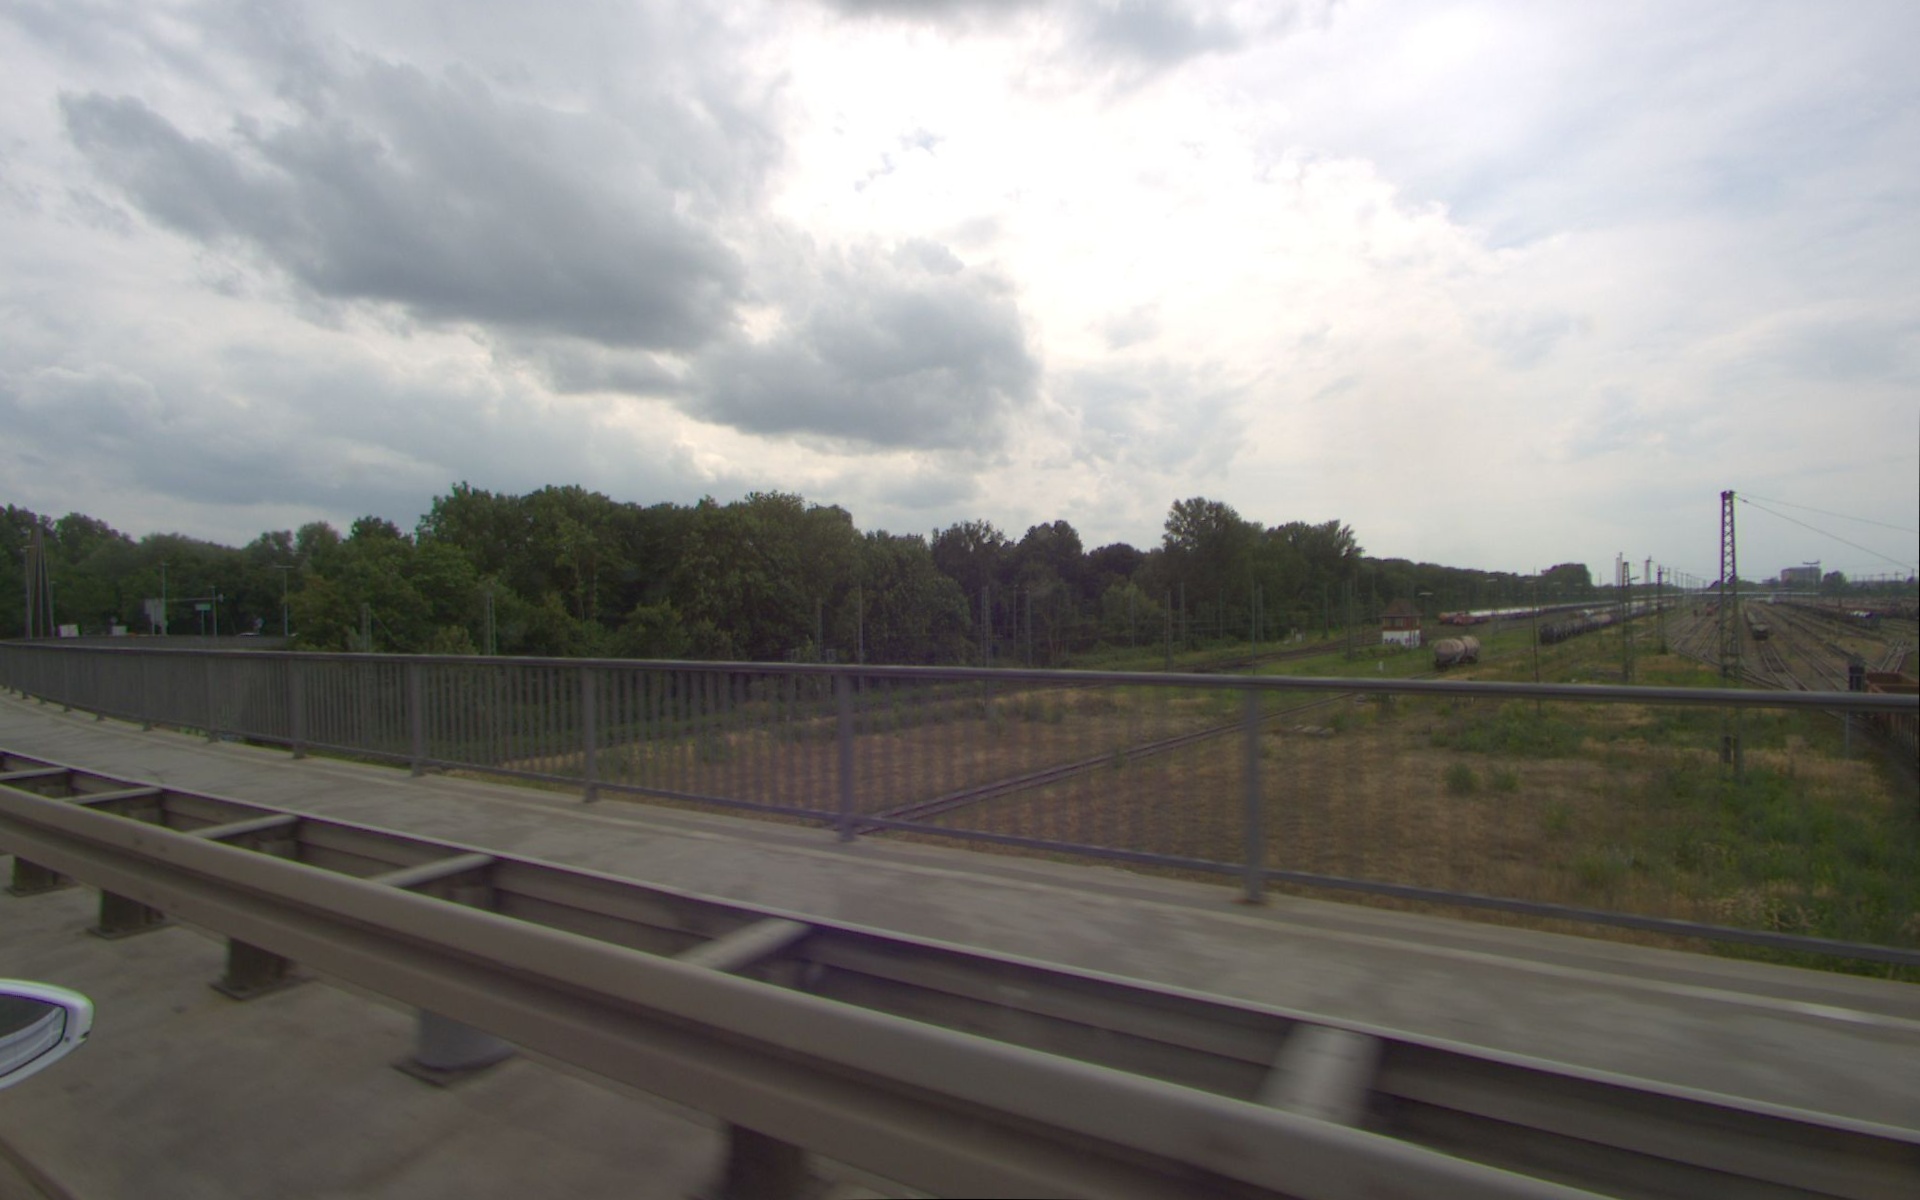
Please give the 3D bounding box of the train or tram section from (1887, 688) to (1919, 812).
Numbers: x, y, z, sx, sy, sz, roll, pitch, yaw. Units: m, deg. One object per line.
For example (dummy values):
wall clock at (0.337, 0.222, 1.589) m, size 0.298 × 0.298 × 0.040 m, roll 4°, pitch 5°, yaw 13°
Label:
train or tram section at (55.062, 8.144, 55.726) m, size 3.929 × 5.748 × 14.910 m, roll -1°, pitch -2°, yaw 39°

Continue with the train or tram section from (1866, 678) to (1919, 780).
train or tram section at (65.377, 8.548, 68.669) m, size 3.914 × 5.713 × 18.143 m, roll -1°, pitch -3°, yaw 39°

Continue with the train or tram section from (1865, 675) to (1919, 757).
train or tram section at (76.218, 9.167, 81.420) m, size 3.762 × 5.695 × 15.438 m, roll -1°, pitch -3°, yaw 42°

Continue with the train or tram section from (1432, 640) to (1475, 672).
train or tram section at (68.782, 7.750, 139.382) m, size 3.212 × 4.221 × 11.312 m, roll -1°, pitch -2°, yaw 37°
